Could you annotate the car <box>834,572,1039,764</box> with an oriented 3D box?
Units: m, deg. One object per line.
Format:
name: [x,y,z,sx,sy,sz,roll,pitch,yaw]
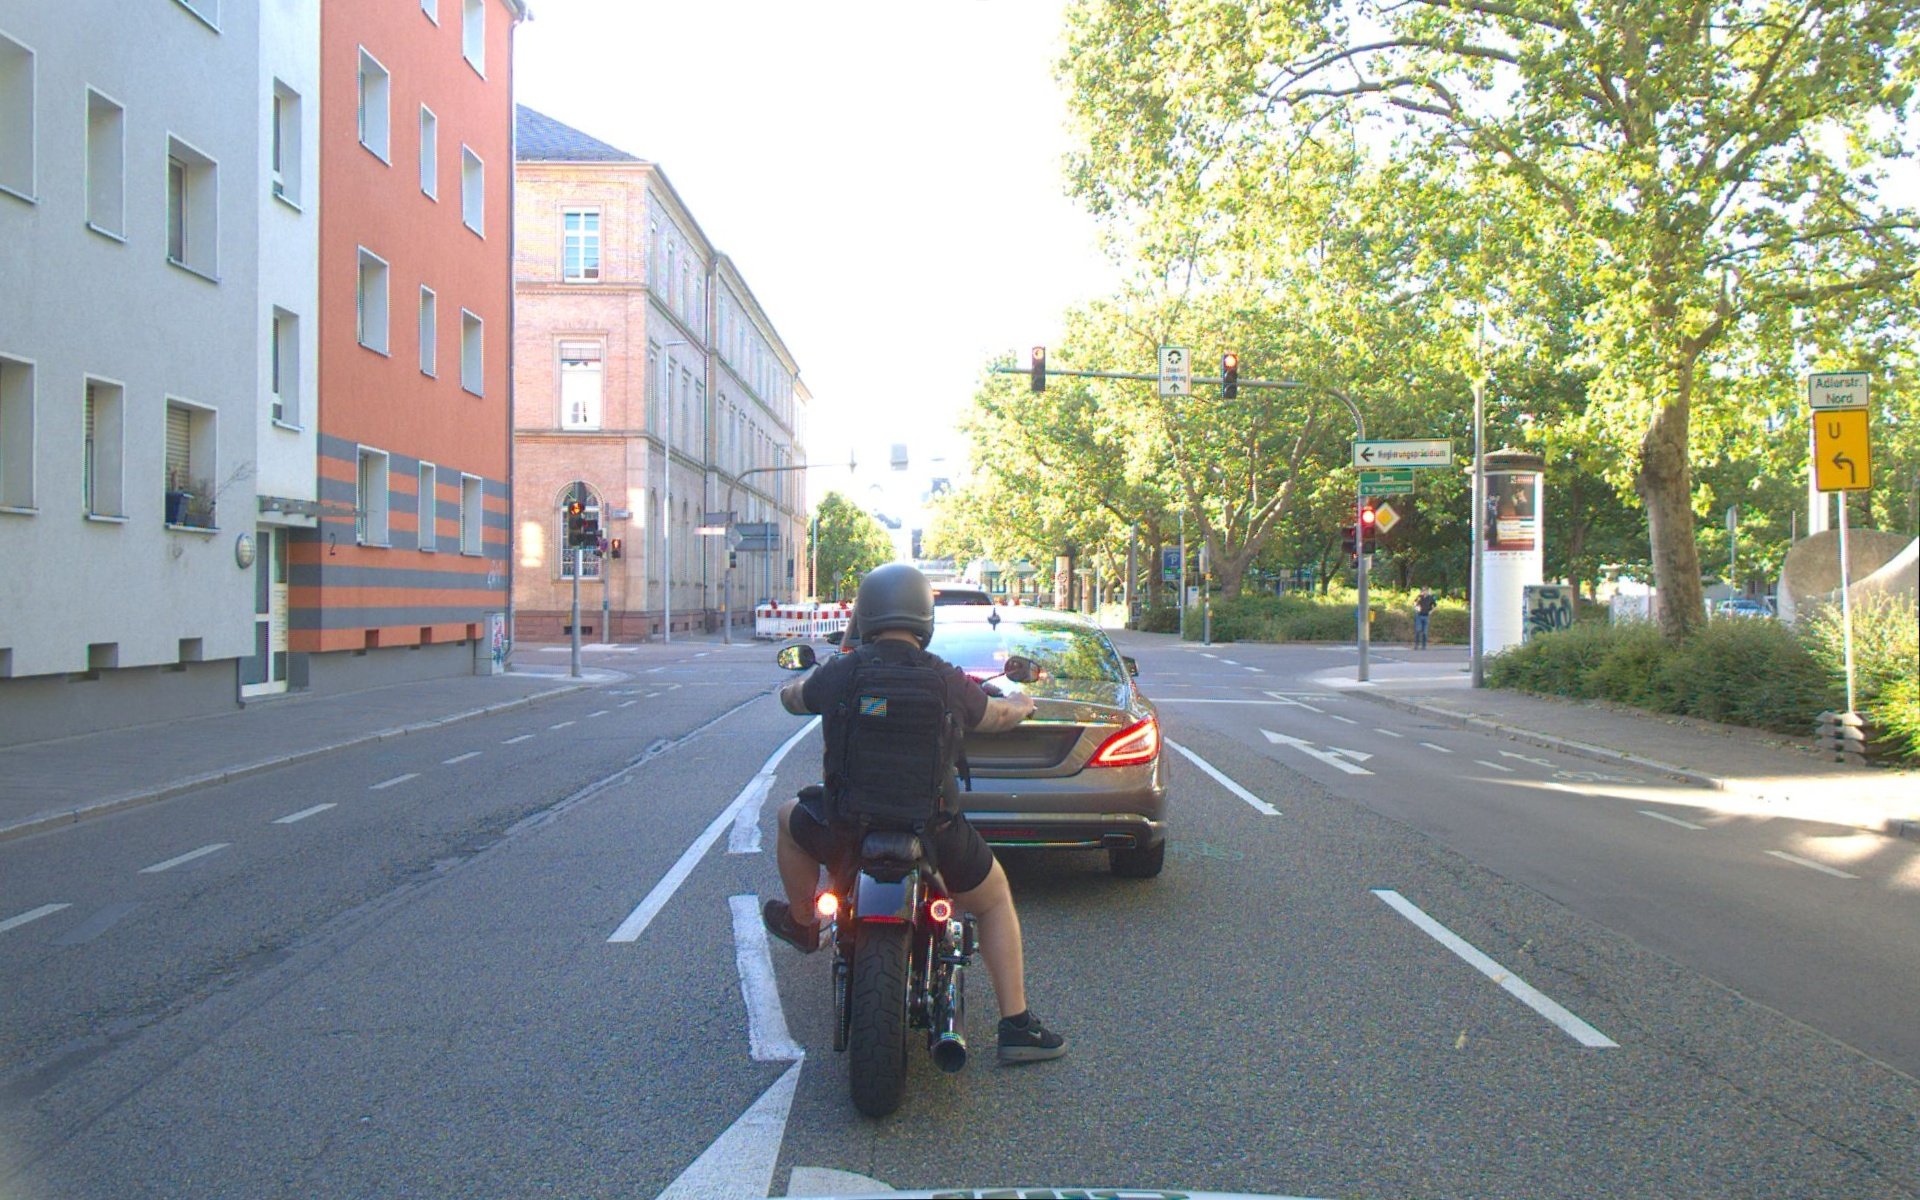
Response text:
car: [-0.241,0.622,16.944,1.825,1.707,3.999,1,0,-1]

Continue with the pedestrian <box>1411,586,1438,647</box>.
pedestrian: [13.909,0.486,49.497,0.720,1.809,0.730,1,-1,20]

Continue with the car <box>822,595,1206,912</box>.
car: [0.231,0.731,9.672,1.785,1.462,3.805,1,0,-1]

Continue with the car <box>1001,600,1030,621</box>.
car: [3.451,0.635,103.011,1.598,1.281,3.715,1,0,-1]

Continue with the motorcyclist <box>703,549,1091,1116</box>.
motorcyclist: [-0.144,0.661,5.280,1.076,1.593,1.072,1,0,5]

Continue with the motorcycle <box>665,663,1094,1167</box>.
motorcycle: [-0.131,0.872,5.500,1.094,1.228,2.213,1,0,5]
